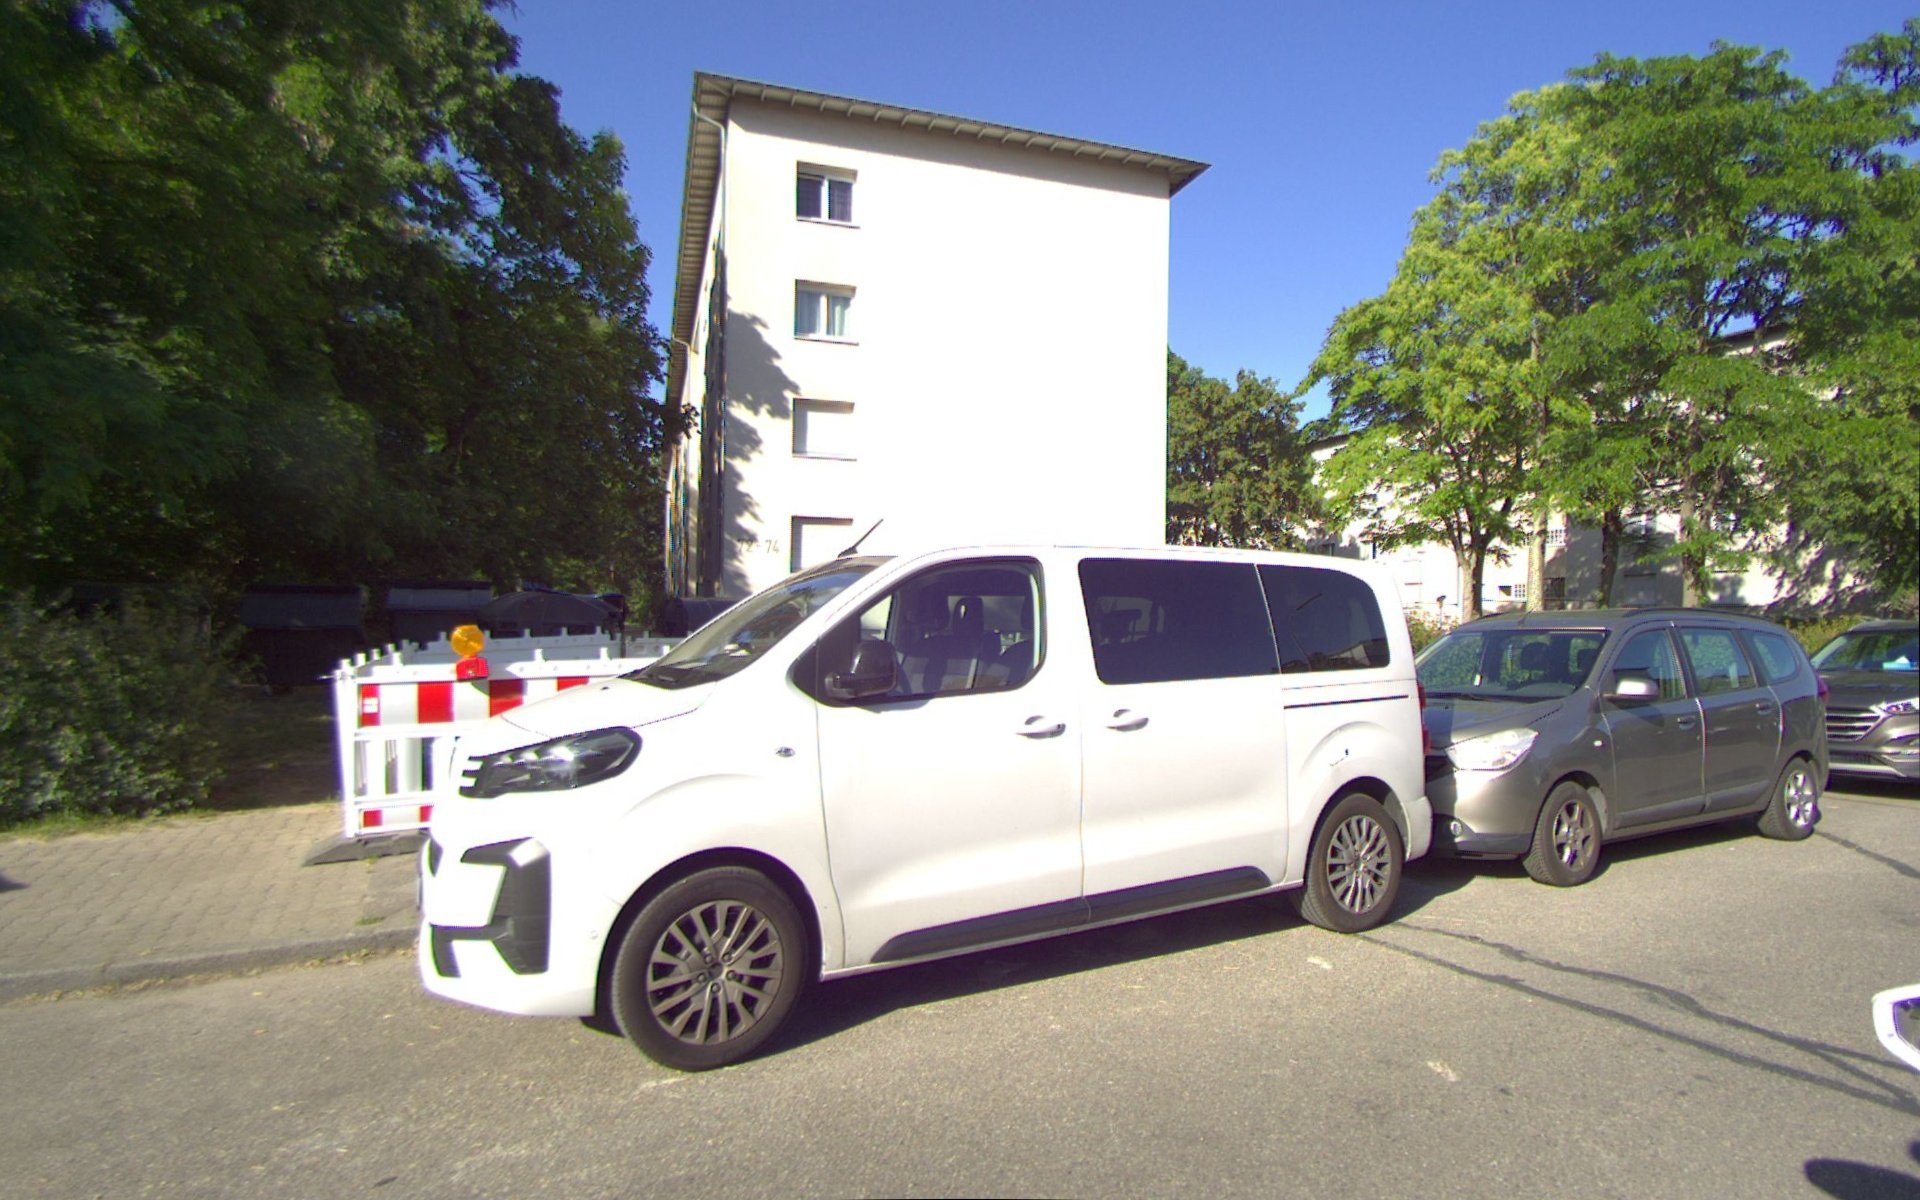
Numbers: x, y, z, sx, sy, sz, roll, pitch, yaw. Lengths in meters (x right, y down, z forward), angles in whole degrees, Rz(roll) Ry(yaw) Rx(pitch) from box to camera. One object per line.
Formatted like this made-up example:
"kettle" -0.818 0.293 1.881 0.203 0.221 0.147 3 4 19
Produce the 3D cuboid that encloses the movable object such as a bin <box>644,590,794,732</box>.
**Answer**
"movable object such as a bin" -2.633 0.630 10.917 1.248 1.420 1.269 1 -1 -31

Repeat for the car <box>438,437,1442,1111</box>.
"car" 0.071 0.563 4.925 4.614 1.987 1.855 1 -1 -29

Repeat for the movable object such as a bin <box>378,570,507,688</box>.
"movable object such as a bin" -7.071 0.397 13.809 1.489 1.509 1.271 1 -1 -26

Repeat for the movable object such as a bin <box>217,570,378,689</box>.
"movable object such as a bin" -8.502 0.381 13.003 1.488 1.427 1.273 1 -1 -22

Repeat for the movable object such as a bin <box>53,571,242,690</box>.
"movable object such as a bin" -10.001 0.377 12.466 1.488 1.373 1.273 1 -1 -22

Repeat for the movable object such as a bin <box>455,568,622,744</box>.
"movable object such as a bin" -4.137 0.521 9.837 1.267 1.572 1.250 1 -1 -35

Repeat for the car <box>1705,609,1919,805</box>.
"car" 9.672 0.938 10.008 4.302 1.639 1.744 1 -1 -24

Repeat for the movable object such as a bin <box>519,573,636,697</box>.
"movable object such as a bin" -4.991 0.448 13.067 1.264 1.509 1.253 1 -1 -28

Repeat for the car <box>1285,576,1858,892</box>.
"car" 4.492 0.787 7.241 4.285 1.745 1.550 1 -1 -28

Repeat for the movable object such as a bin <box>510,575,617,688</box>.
"movable object such as a bin" -5.626 0.441 14.224 1.264 1.509 1.253 1 -1 -28
